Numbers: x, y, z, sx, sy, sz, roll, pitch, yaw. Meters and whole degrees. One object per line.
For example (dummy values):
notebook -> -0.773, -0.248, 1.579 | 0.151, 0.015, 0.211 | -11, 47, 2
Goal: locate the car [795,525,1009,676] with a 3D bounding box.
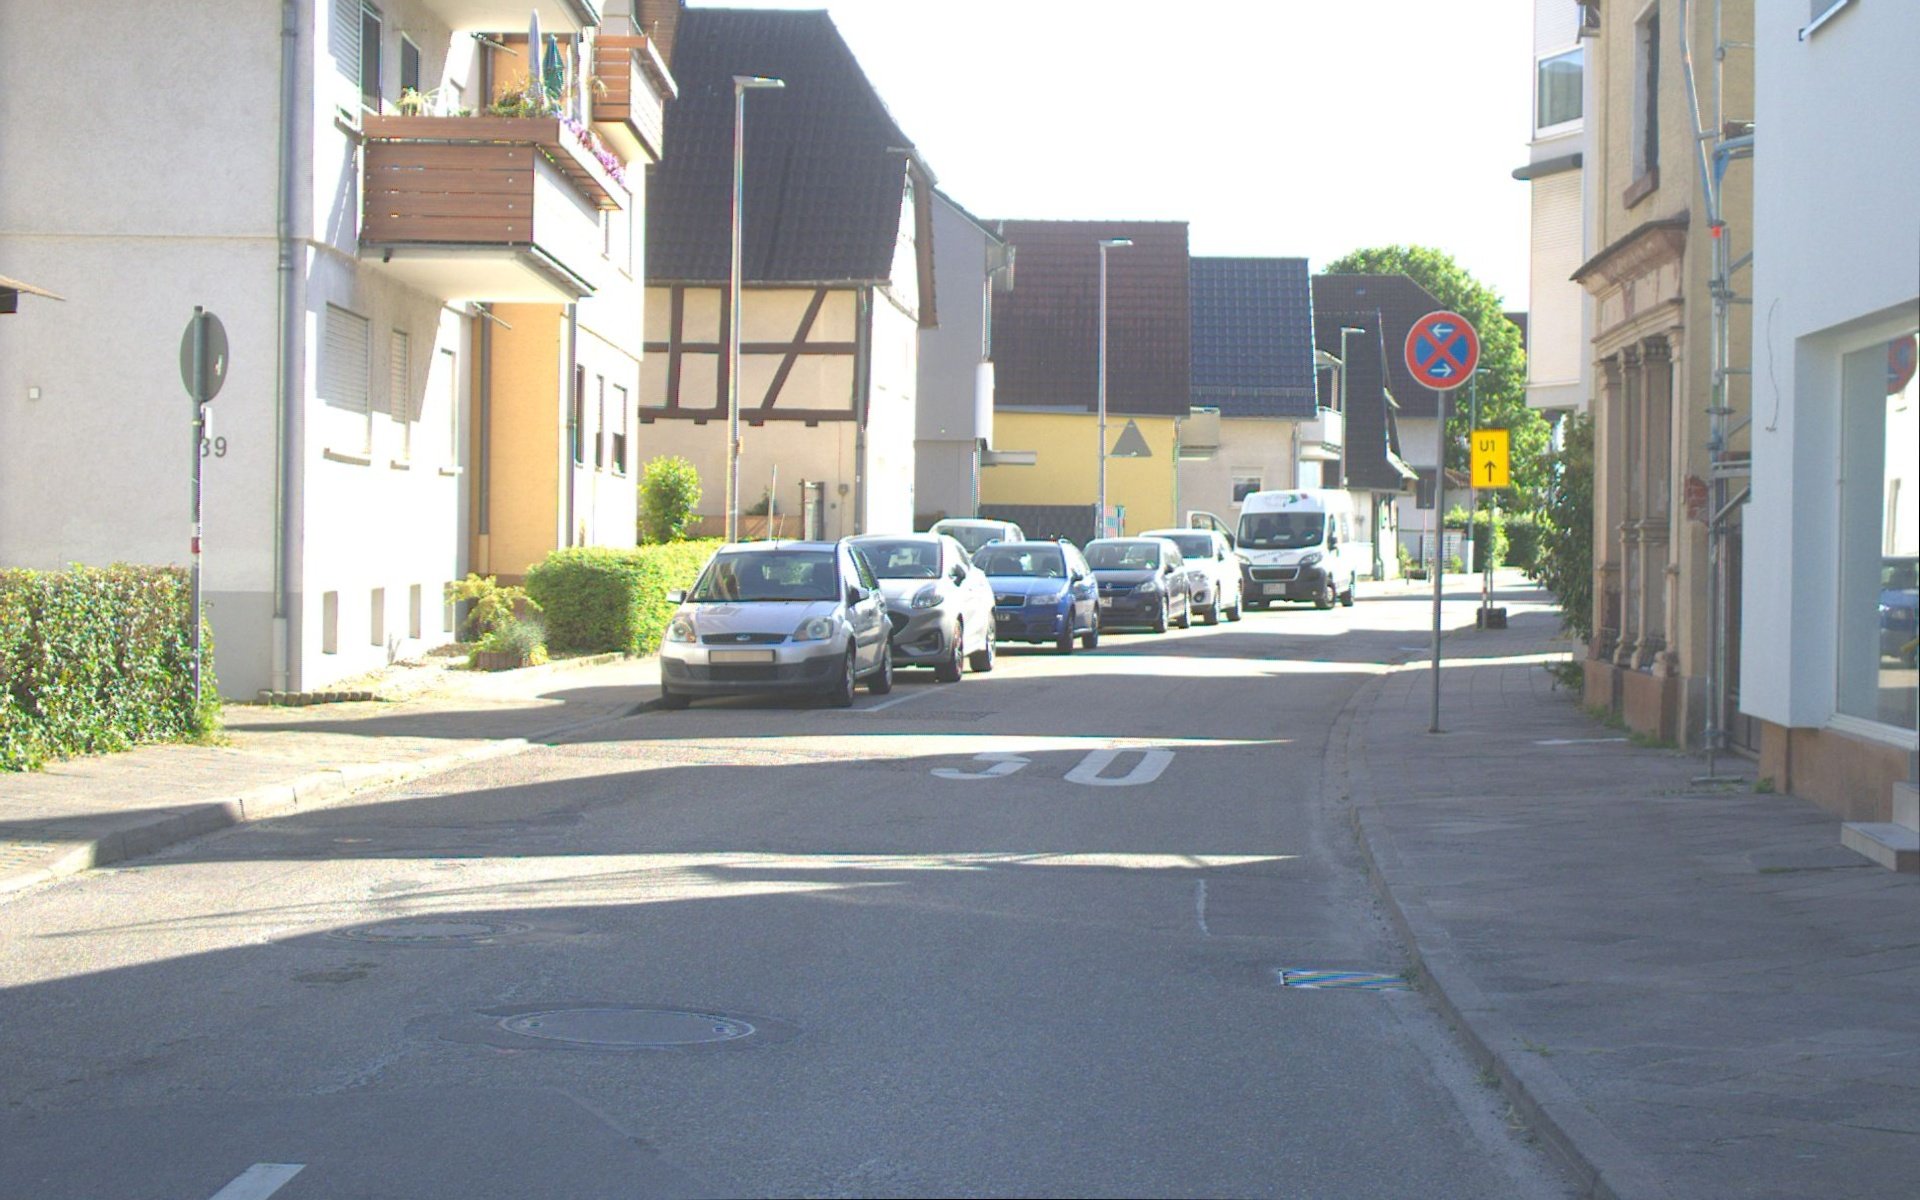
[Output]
car -> -0.556, -0.041, 36.467 | 1.674, 1.500, 4.093 | 0, 1, 8

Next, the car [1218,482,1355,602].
car -> 6.825, -1.193, 71.338 | 2.078, 2.386, 5.205 | 0, 1, 14

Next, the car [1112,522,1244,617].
car -> 3.764, -0.543, 58.846 | 1.674, 1.566, 3.964 | 0, 1, 12

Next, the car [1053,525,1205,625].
car -> 2.714, -0.412, 54.392 | 1.704, 1.513, 4.119 | 0, 1, 13

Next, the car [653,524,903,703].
car -> -1.584, 0.075, 31.182 | 1.631, 1.500, 3.852 | -1, 1, 7

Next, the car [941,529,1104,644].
car -> 0.868, -0.197, 45.096 | 1.639, 1.436, 4.074 | 0, 1, 8
